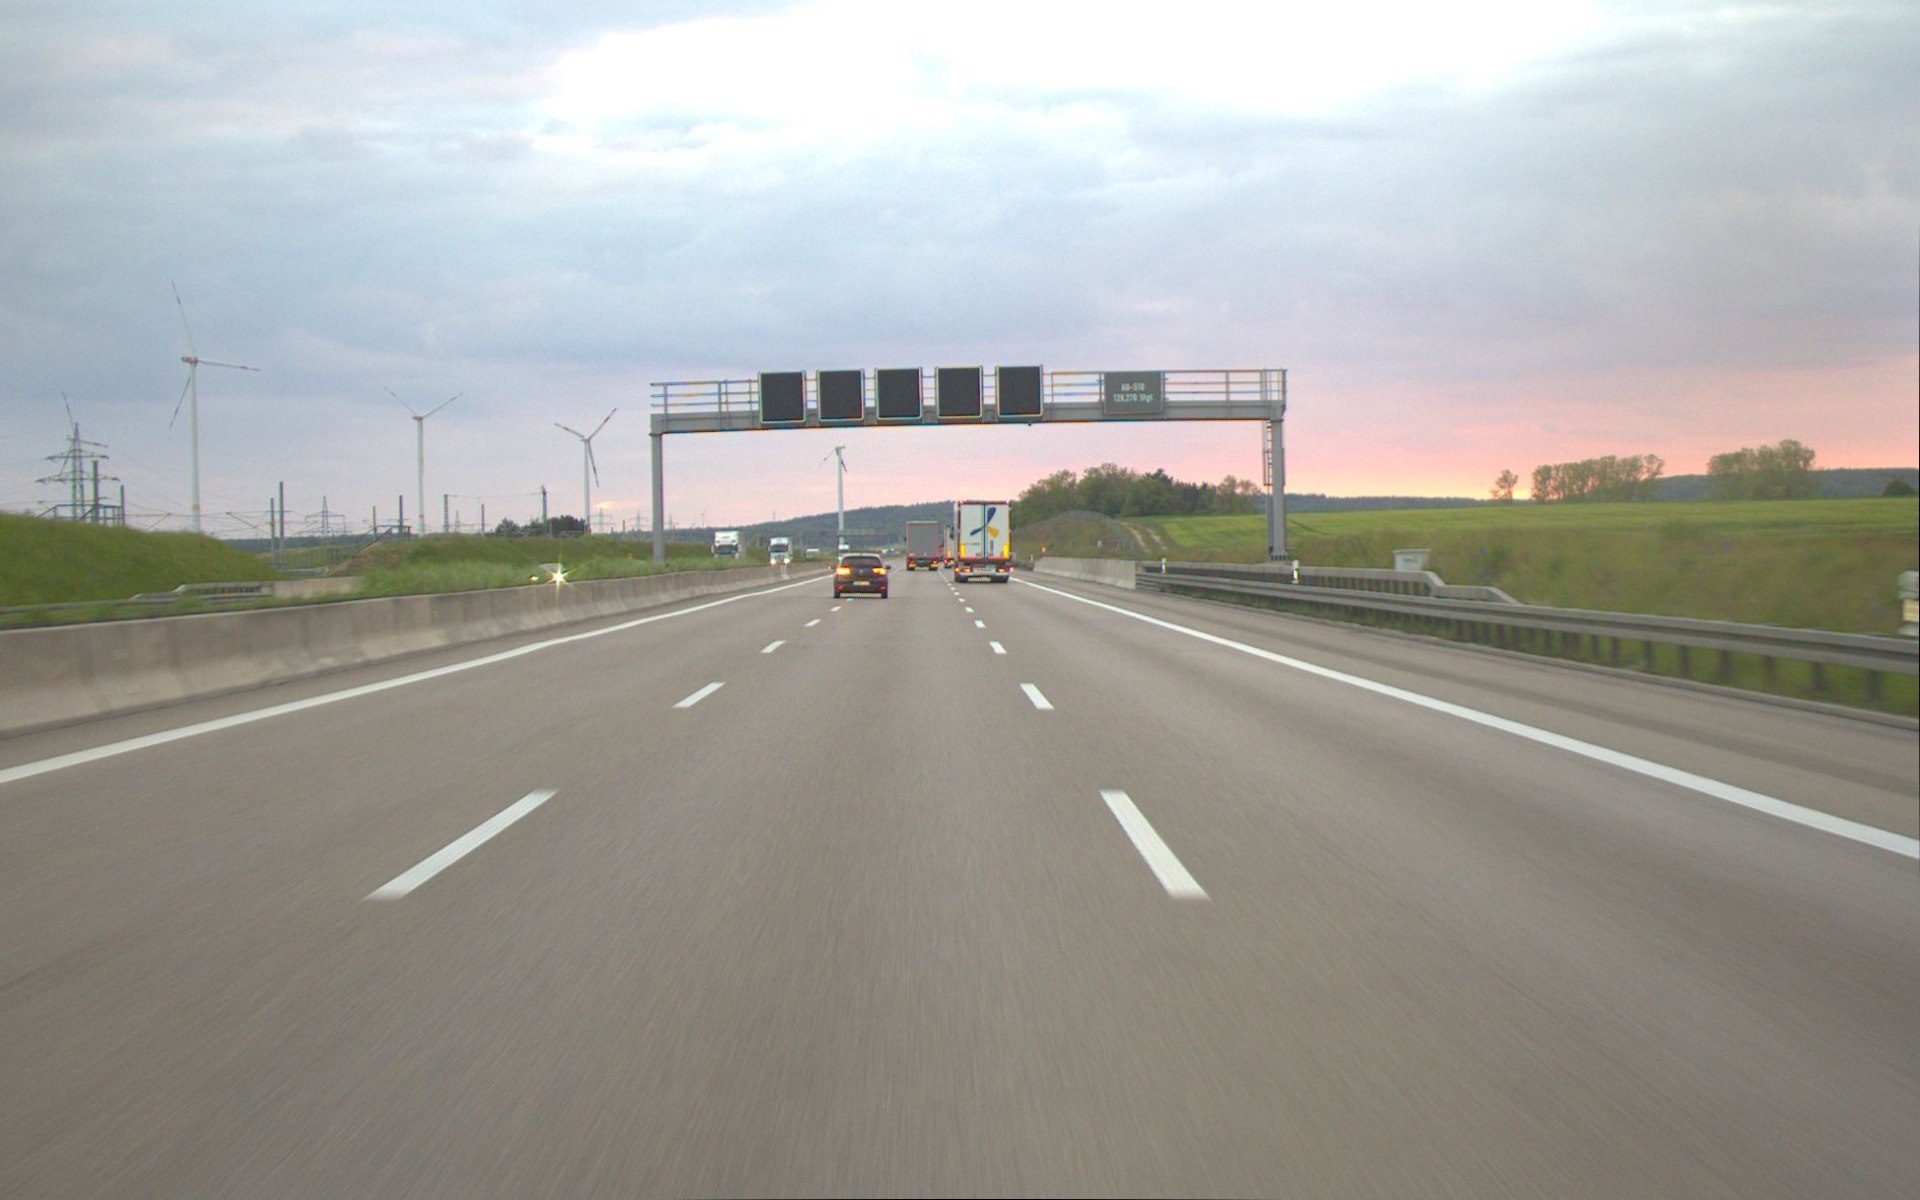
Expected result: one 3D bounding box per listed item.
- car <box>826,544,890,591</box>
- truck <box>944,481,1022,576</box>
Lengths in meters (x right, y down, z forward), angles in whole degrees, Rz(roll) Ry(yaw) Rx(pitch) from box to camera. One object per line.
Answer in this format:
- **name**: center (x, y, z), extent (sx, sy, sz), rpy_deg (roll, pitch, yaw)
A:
- **car**: center (-3.258, -1.050, 110.828), extent (1.987, 1.425, 4.000), rpy_deg (-1, 1, -1)
- **truck**: center (1.099, -3.549, 172.270), extent (3.675, 4.549, 10.981), rpy_deg (1, 1, 0)
